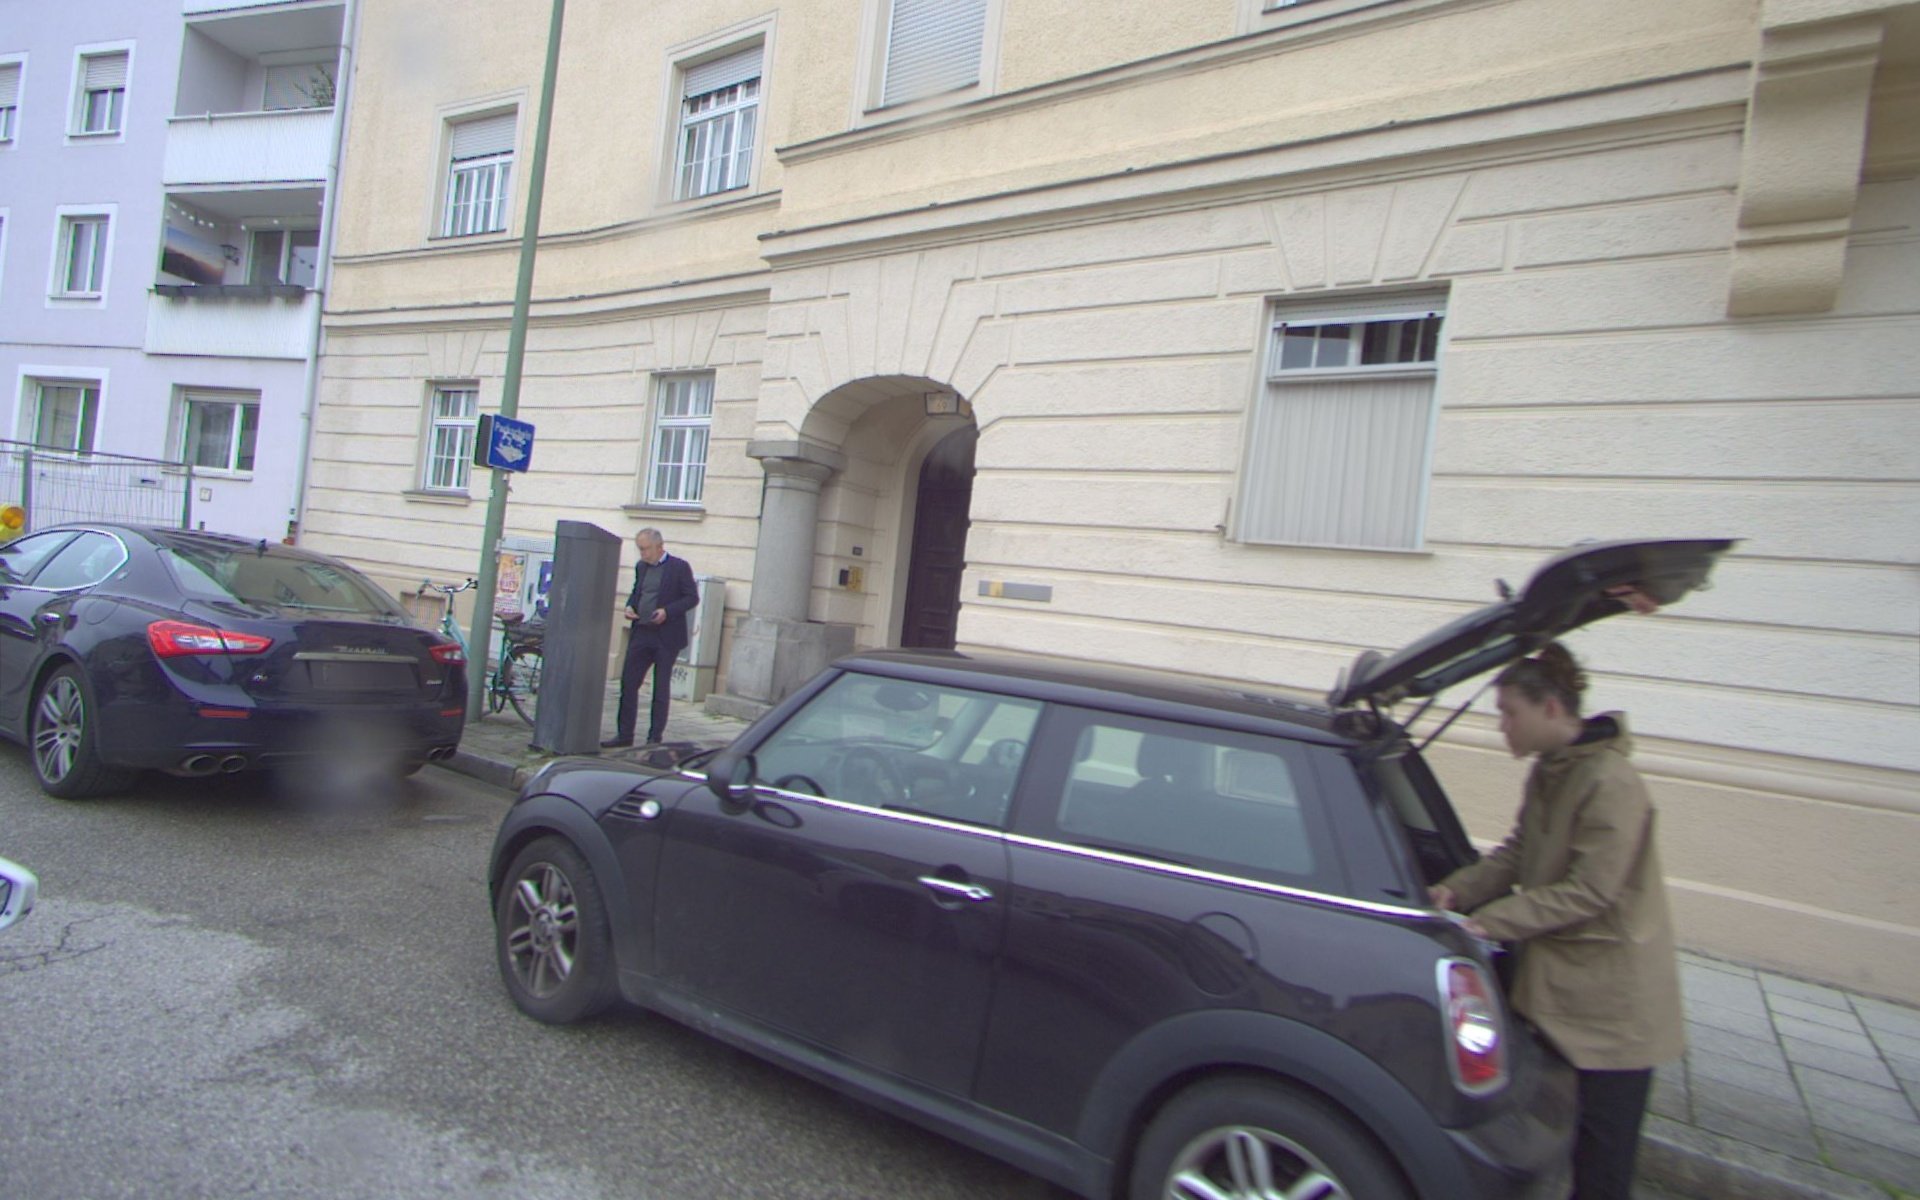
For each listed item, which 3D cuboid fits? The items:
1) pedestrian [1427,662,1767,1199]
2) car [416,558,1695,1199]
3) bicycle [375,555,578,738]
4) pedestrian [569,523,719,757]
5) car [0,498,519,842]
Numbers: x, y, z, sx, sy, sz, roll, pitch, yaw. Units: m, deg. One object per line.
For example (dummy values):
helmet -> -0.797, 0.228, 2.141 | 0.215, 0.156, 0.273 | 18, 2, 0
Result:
pedestrian -> 1.695, 0.985, 2.724 | 0.569, 1.547, 0.629 | 7, -1, 34
car -> 0.062, 0.814, 3.370 | 3.619, 1.434, 1.633 | 7, -1, 32
bicycle -> -3.968, 0.354, 8.219 | 1.644, 1.273, 0.637 | 6, -1, 34
pedestrian -> -2.512, 0.291, 7.977 | 0.905, 1.713, 0.616 | 6, 3, 35
car -> -5.378, 0.215, 6.692 | 4.863, 1.495, 1.912 | 7, -1, 31
